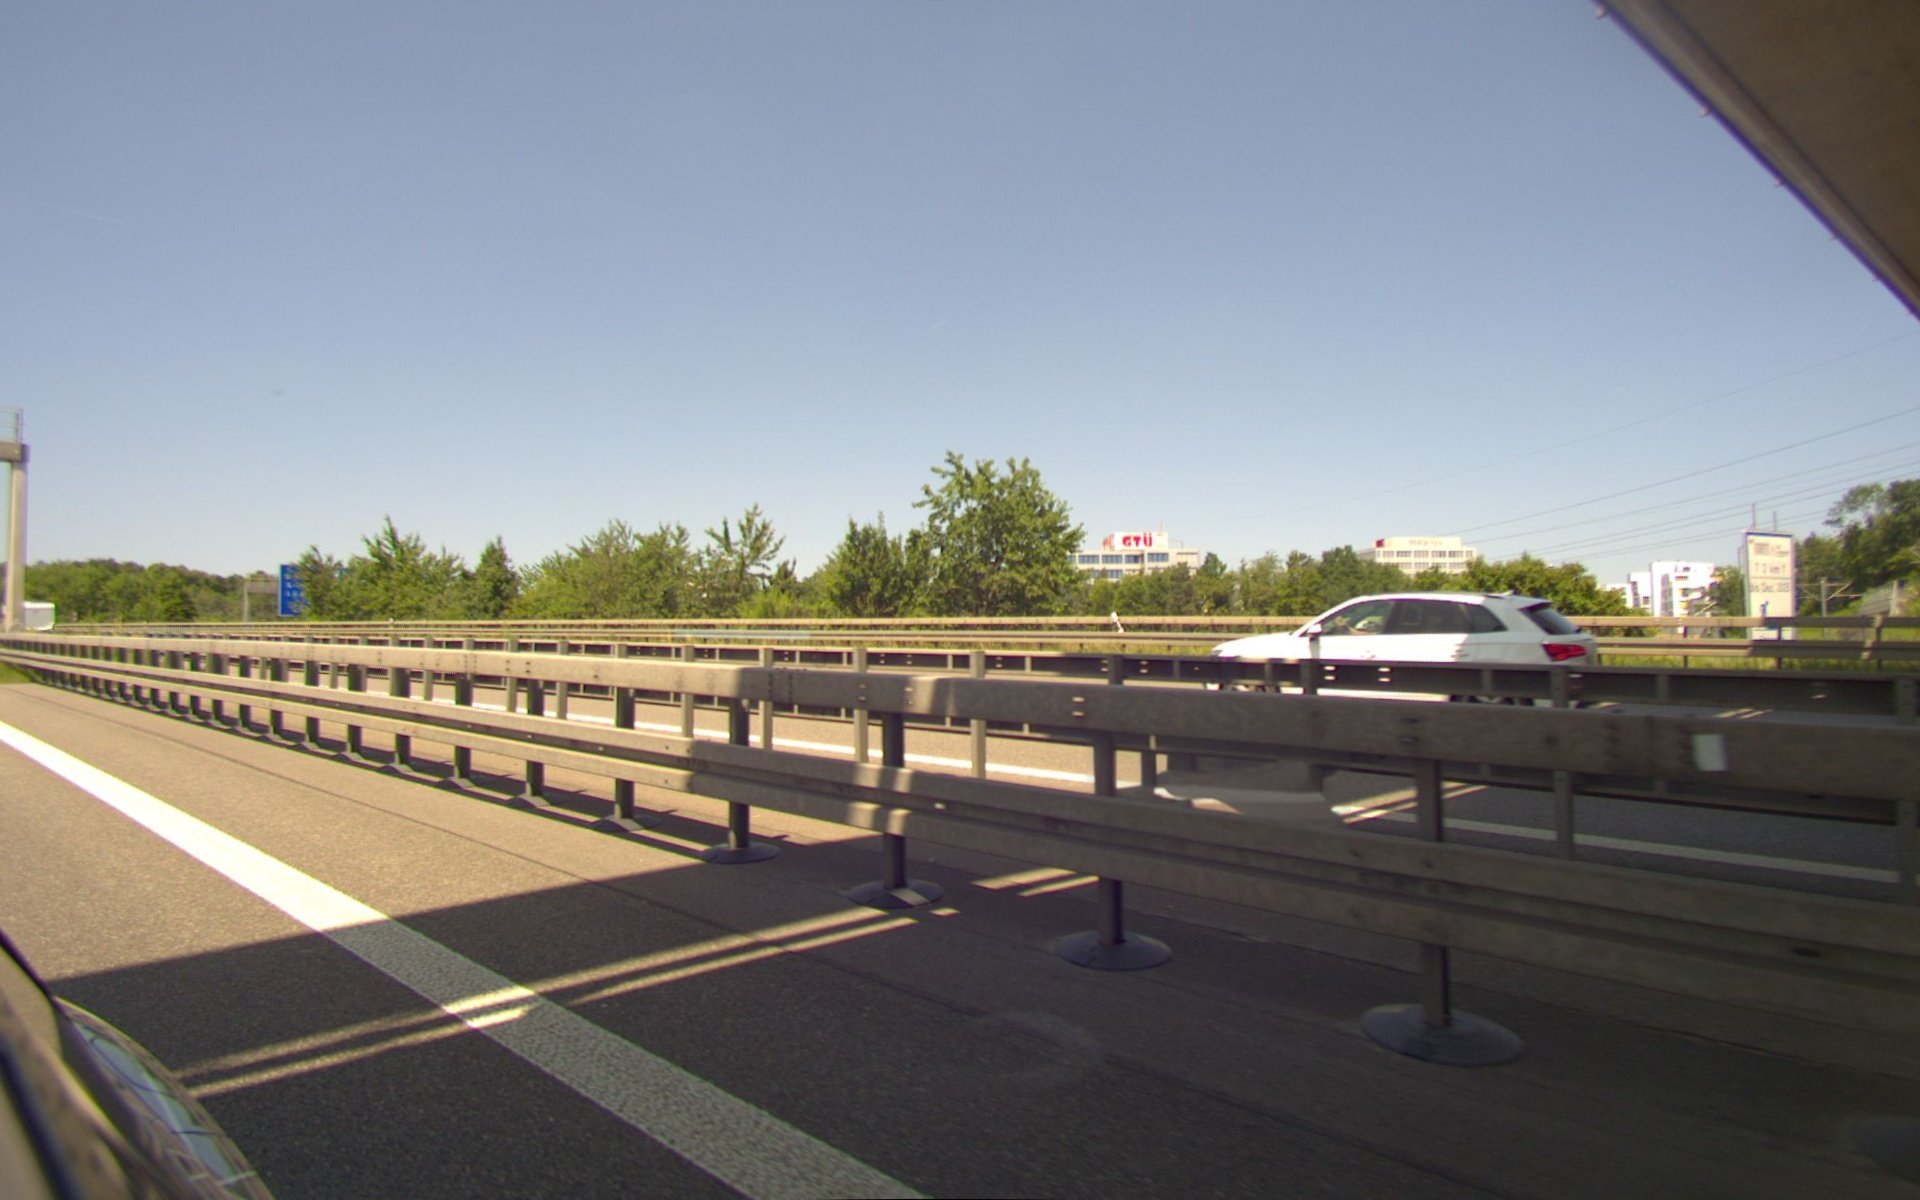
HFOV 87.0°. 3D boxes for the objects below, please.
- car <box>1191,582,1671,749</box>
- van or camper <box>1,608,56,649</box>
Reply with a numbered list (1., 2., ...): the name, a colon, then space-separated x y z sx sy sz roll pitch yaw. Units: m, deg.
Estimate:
1. car: 5.544 0.706 12.398 4.975 1.651 1.907 -2 -1 42
2. van or camper: -73.642 2.239 79.926 8.119 3.110 2.418 -2 -1 42
